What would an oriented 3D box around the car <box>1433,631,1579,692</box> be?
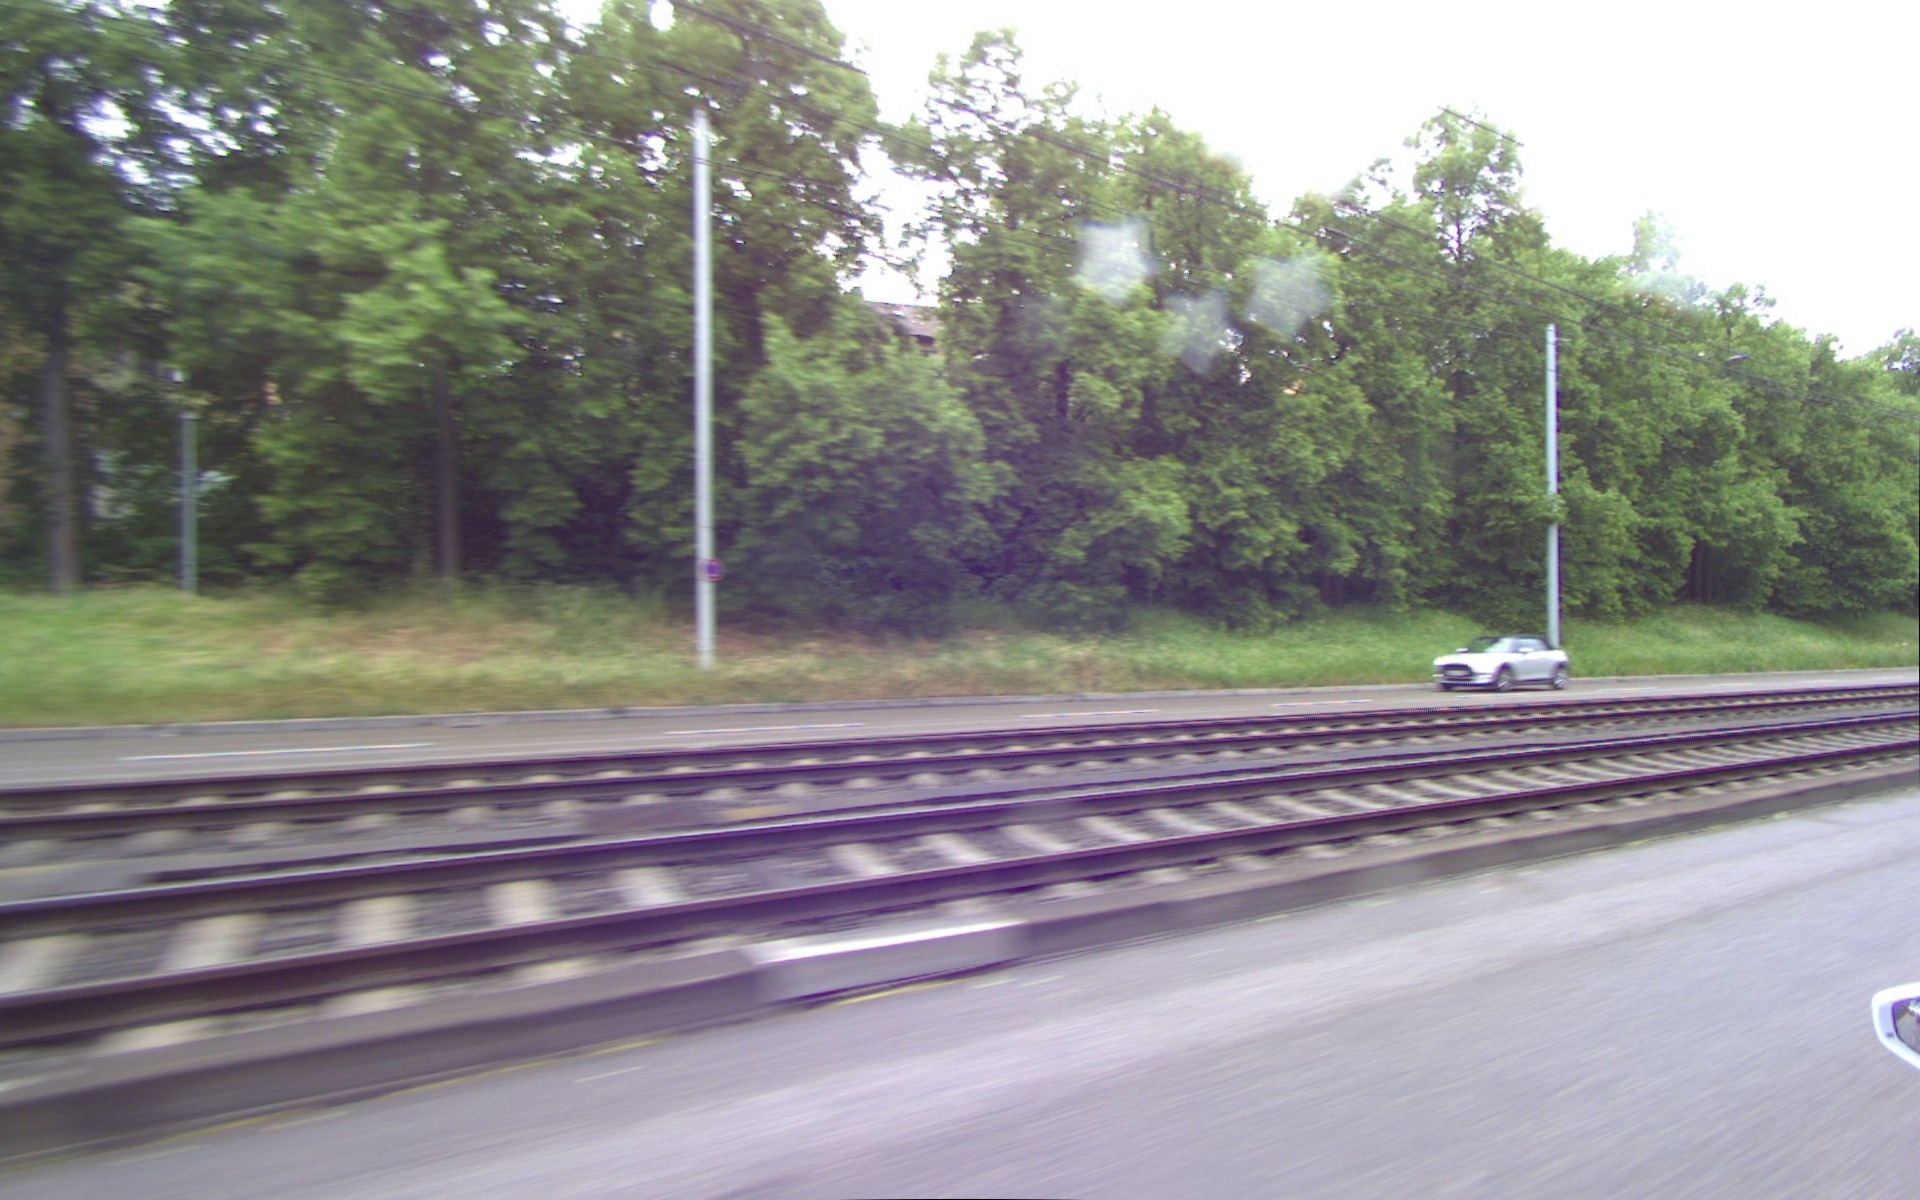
[{"bbox_3d":[14.065,1.548,25.839,3.863,1.454,1.470,1,-3,-30],"label":"car"}]
